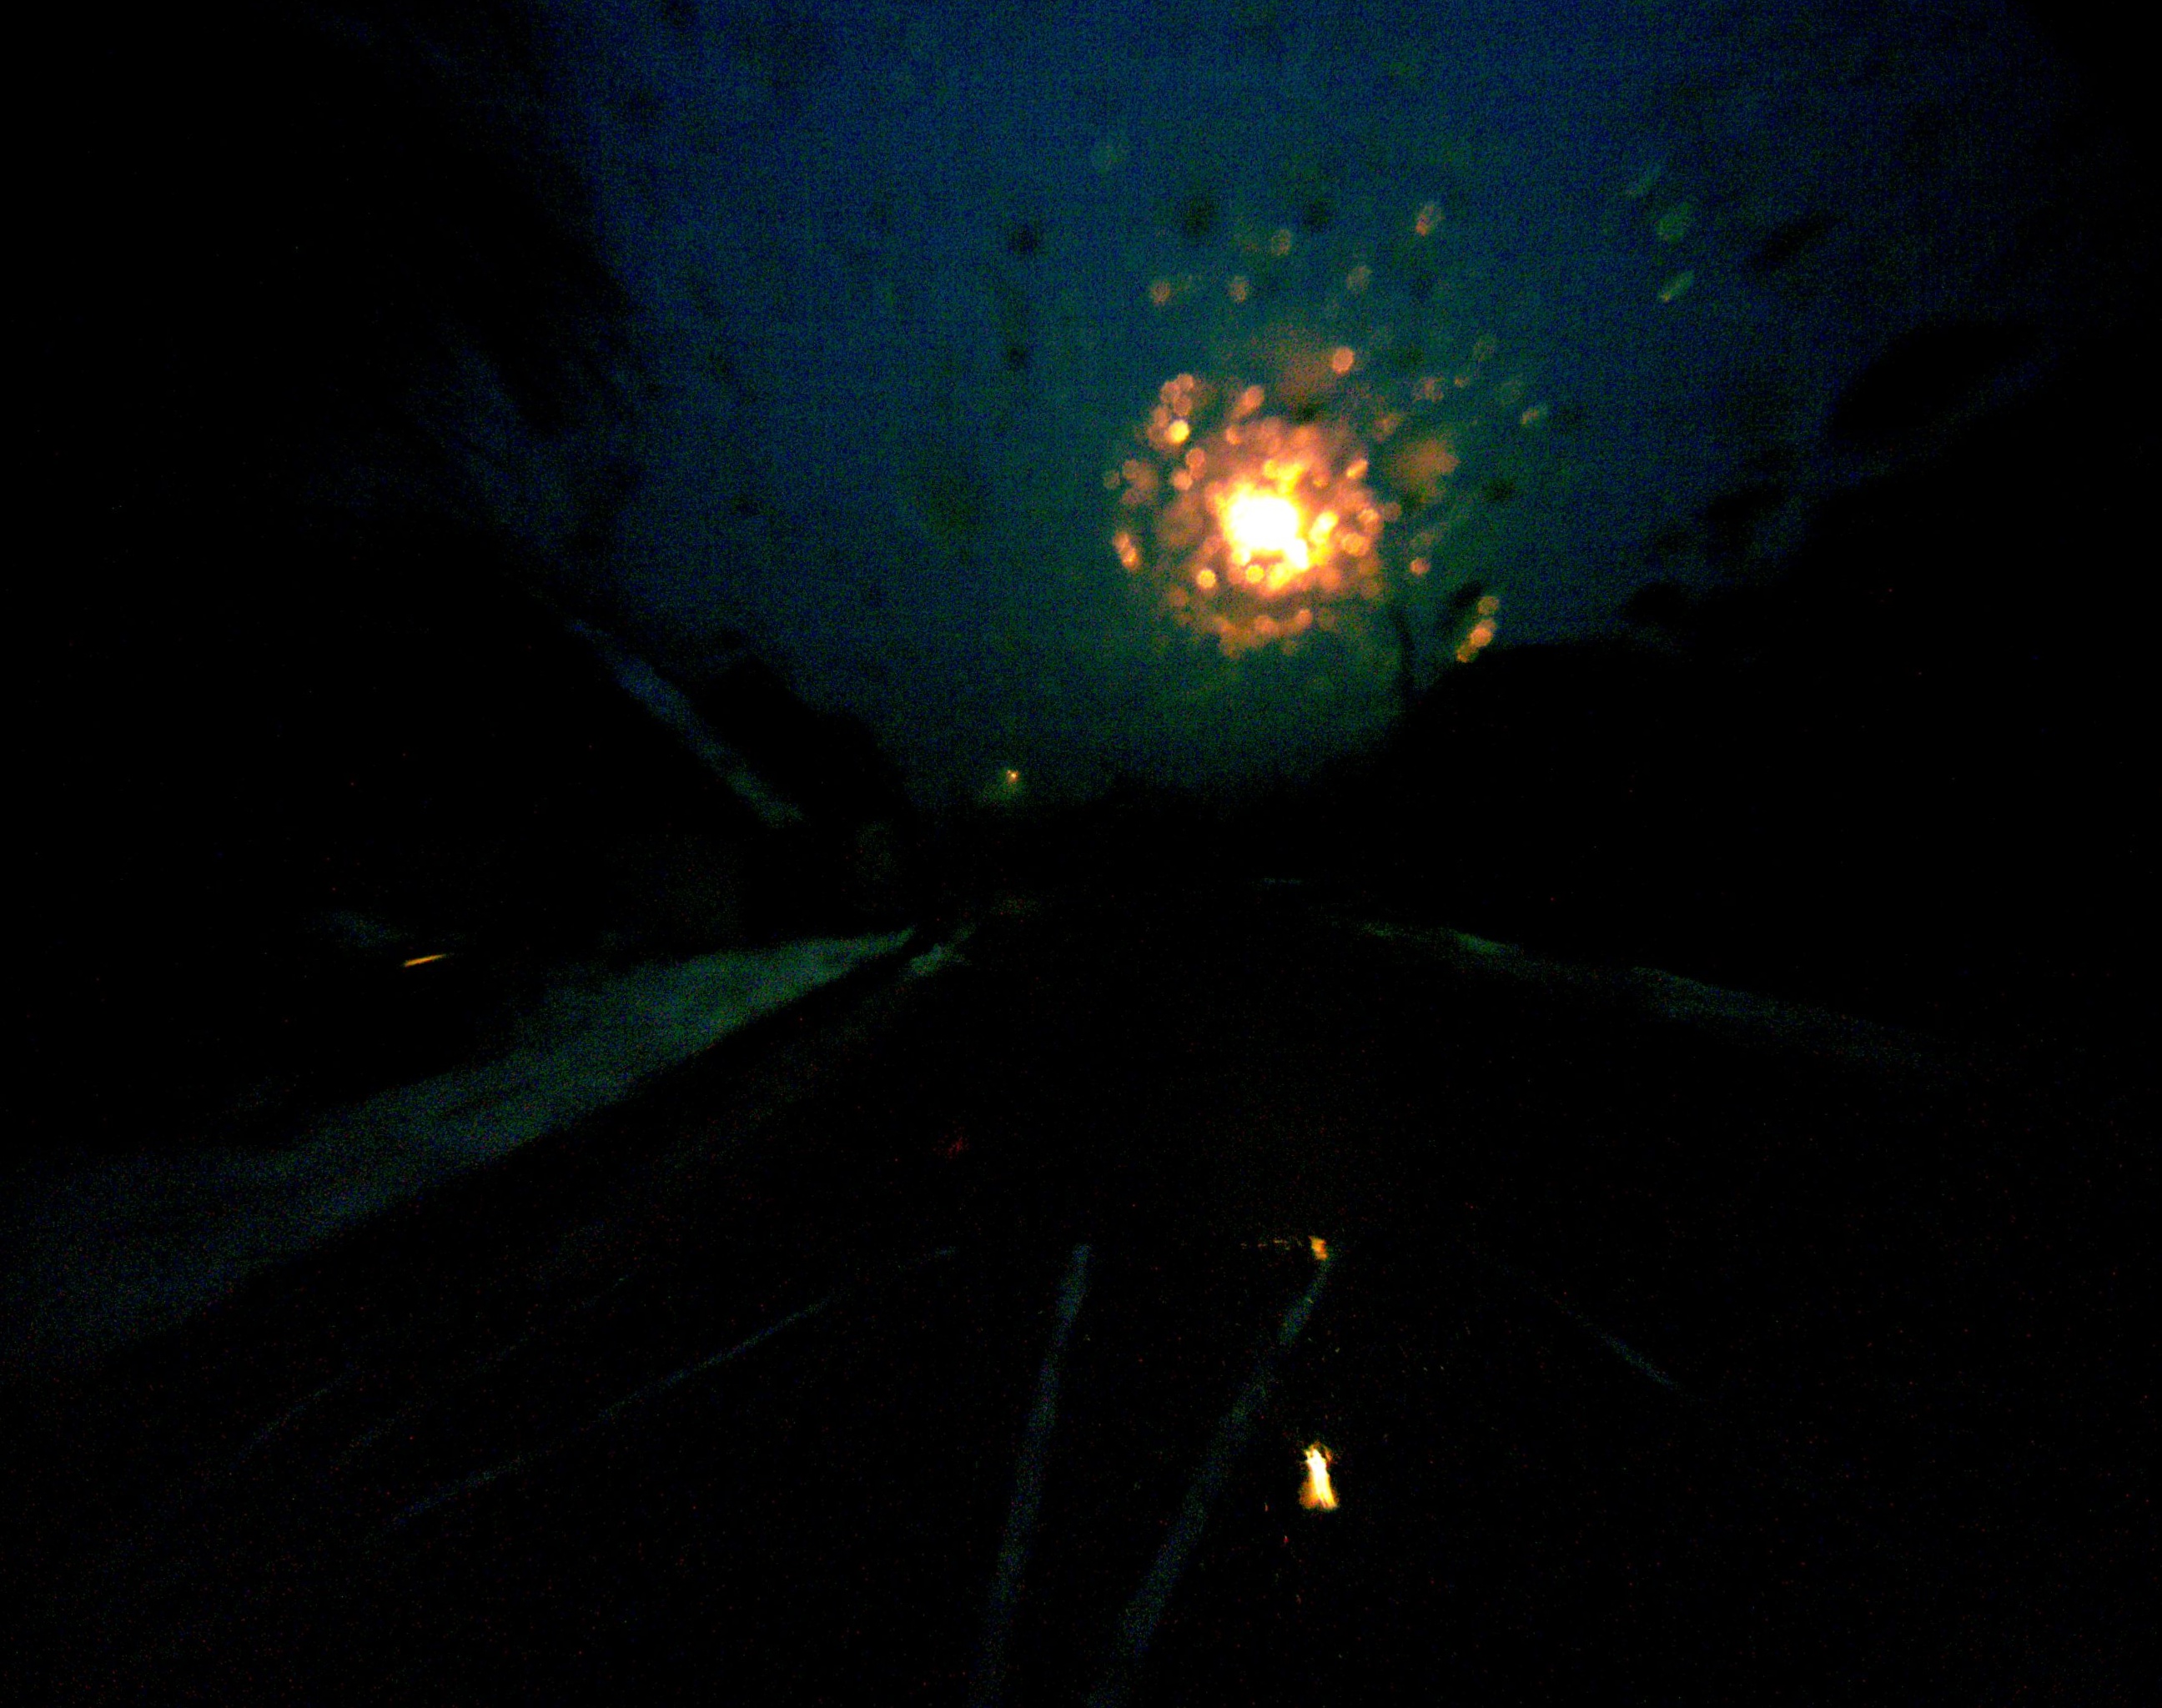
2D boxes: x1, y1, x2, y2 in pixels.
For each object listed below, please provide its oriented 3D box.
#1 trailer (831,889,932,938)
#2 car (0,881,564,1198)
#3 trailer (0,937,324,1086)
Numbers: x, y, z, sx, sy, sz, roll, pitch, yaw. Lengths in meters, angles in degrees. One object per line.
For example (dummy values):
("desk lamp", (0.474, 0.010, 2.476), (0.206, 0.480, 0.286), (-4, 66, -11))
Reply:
("trailer", (-5.058, 1.407, 18.885), (1.552, 0.940, 3.991), (0, -1, -28))
("car", (-6.255, 1.122, 4.828), (4.460, 1.374, 2.036), (-6, 0, 2))
("trailer", (-11.229, 1.683, 8.101), (3.881, 1.085, 2.244), (-3, 0, -5))
